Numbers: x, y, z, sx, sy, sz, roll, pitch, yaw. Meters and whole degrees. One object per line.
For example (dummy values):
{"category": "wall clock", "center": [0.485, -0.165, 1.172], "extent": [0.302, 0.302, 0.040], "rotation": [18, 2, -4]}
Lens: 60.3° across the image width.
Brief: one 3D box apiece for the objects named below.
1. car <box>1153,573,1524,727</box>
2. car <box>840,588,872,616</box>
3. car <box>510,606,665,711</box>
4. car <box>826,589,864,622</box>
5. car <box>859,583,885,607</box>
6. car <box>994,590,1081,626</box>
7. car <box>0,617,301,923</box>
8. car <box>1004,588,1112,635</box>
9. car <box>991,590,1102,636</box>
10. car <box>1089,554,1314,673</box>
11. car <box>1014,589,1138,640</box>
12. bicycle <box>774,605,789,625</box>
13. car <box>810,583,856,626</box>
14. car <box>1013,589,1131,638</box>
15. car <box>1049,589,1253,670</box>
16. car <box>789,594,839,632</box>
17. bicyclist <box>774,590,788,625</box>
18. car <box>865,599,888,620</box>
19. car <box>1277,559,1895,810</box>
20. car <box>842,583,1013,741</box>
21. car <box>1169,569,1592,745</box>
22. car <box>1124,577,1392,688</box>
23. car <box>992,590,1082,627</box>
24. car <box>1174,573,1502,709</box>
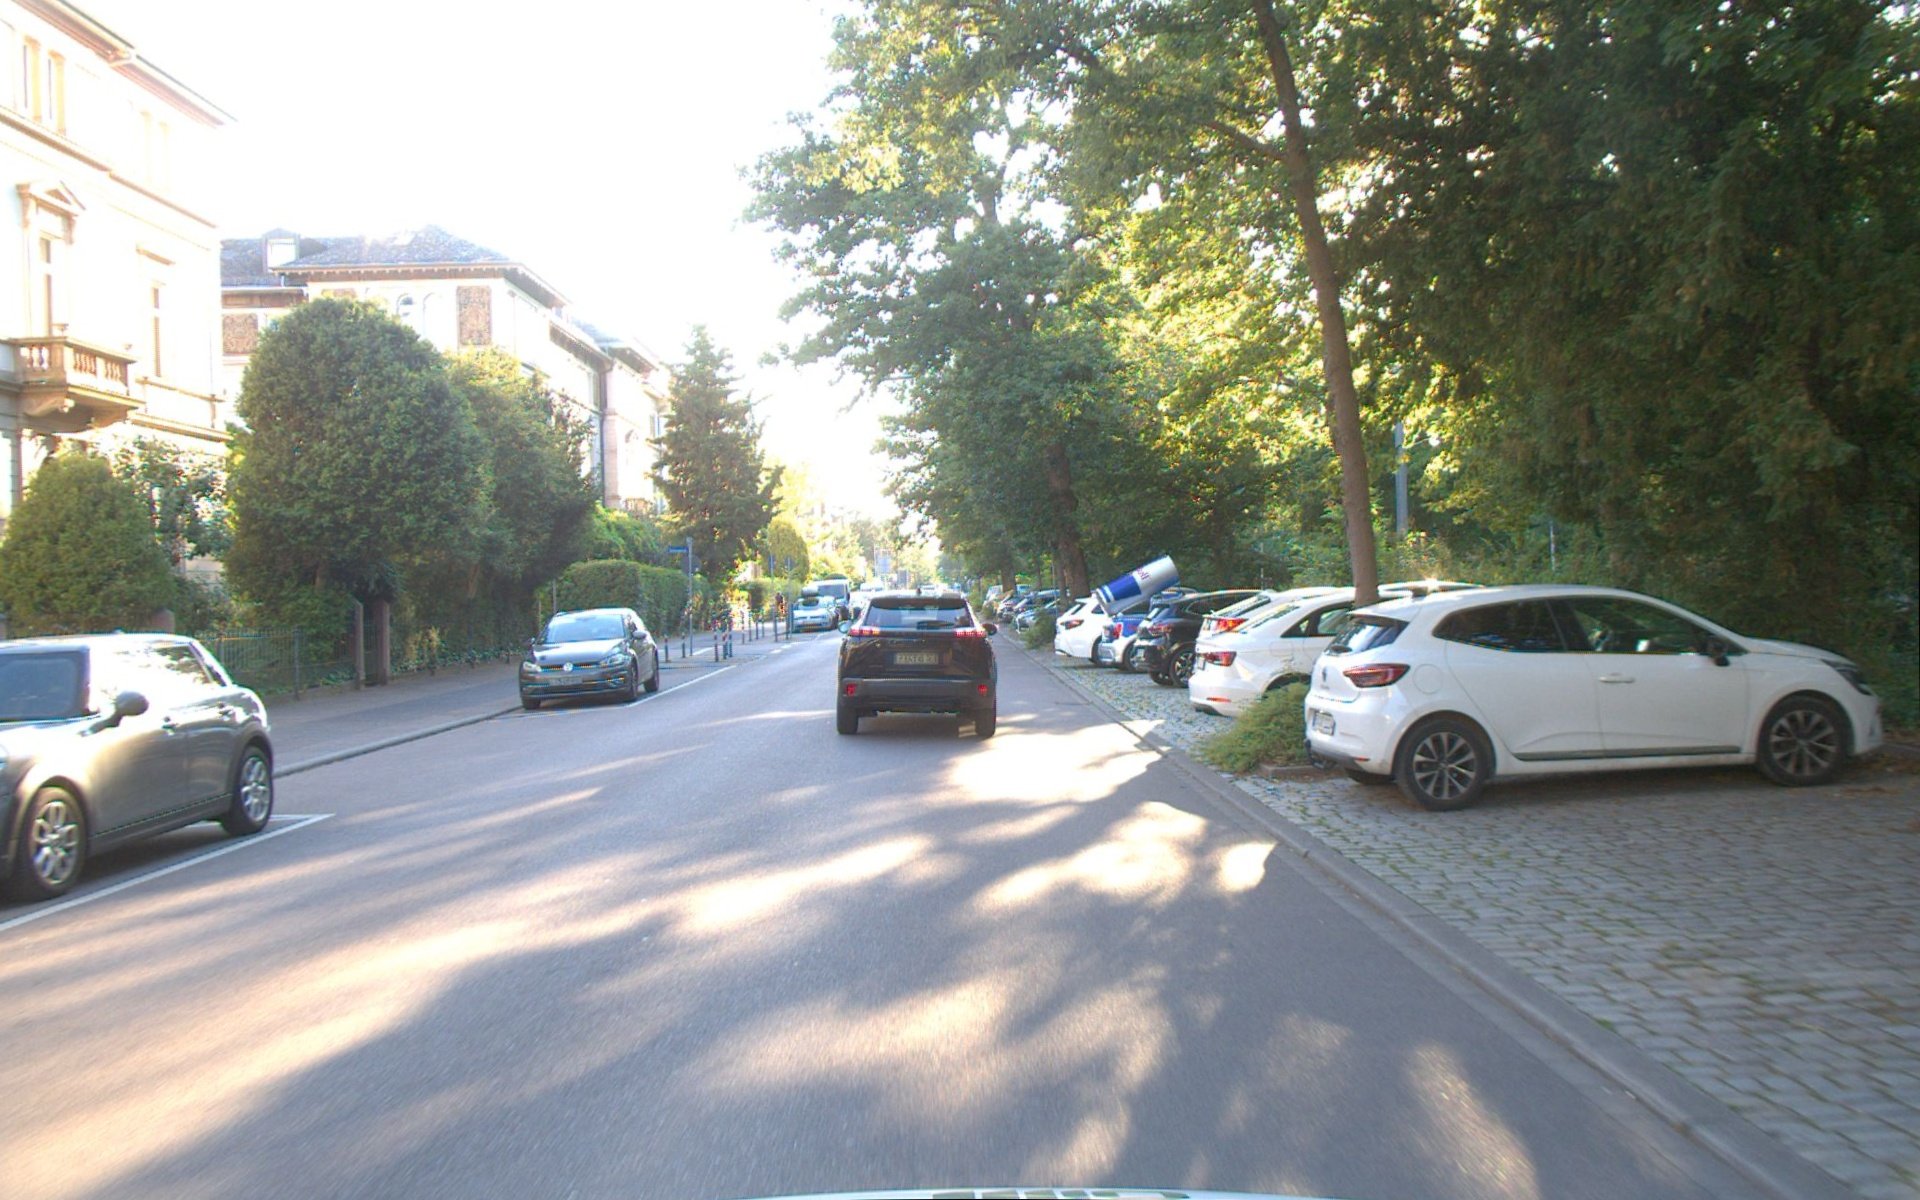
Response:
{"category": "car", "center": [4.399, 0.554, 19.539], "extent": [3.910, 1.653, 1.756], "rotation": [-1, 0, -6]}
{"category": "car", "center": [-6.915, 0.130, 110.385], "extent": [1.953, 1.847, 3.999], "rotation": [-1, 0, -1]}
{"category": "car", "center": [-5.935, 0.888, 26.766], "extent": [1.717, 1.438, 3.763], "rotation": [-3, 1, -2]}
{"category": "car", "center": [-6.563, 0.307, 94.611], "extent": [1.953, 1.799, 3.999], "rotation": [-1, 0, -1]}
{"category": "car", "center": [-7.189, -0.391, 134.713], "extent": [1.953, 1.847, 3.999], "rotation": [-1, 0, -1]}
{"category": "car", "center": [3.512, 0.367, 75.714], "extent": [3.905, 1.552, 1.758], "rotation": [-1, 0, 0]}
{"category": "car", "center": [-5.658, 0.905, 10.152], "extent": [1.581, 1.492, 4.035], "rotation": [-2, 0, 0]}
{"category": "car", "center": [3.618, 0.428, 61.699], "extent": [3.905, 1.652, 1.758], "rotation": [-1, 0, 0]}
{"category": "car", "center": [3.086, 0.450, 59.462], "extent": [3.905, 1.552, 1.758], "rotation": [-1, 0, 0]}
{"category": "car", "center": [4.565, 0.239, 31.569], "extent": [3.910, 2.126, 1.756], "rotation": [-1, 0, -6]}
{"category": "car", "center": [3.766, 0.468, 54.065], "extent": [3.905, 1.552, 1.758], "rotation": [-1, 0, 0]}
{"category": "bicycle", "center": [-9.549, 0.789, 88.439], "extent": [0.678, 1.033, 2.047], "rotation": [-1, 0, -4]}
{"category": "car", "center": [-6.325, 0.231, 82.743], "extent": [1.953, 2.049, 4.000], "rotation": [-1, 0, 0]}
{"category": "car", "center": [3.790, 0.451, 56.561], "extent": [3.905, 1.552, 1.758], "rotation": [-1, 0, 0]}
{"category": "car", "center": [3.923, 0.582, 34.372], "extent": [3.910, 1.552, 1.756], "rotation": [-1, 0, -6]}
{"category": "car", "center": [-6.342, 0.546, 72.014], "extent": [1.861, 1.601, 3.999], "rotation": [-1, 0, -1]}
{"category": "bicyclist", "center": [-9.545, 0.394, 88.347], "extent": [0.679, 1.823, 0.772], "rotation": [-1, 0, -4]}
{"category": "car", "center": [-7.645, 0.900, 151.973], "extent": [1.953, 1.847, 3.999], "rotation": [-1, 0, -1]}
{"category": "car", "center": [4.401, 0.553, 11.995], "extent": [3.734, 1.474, 1.824], "rotation": [-3, 0, -5]}
{"category": "car", "center": [-0.452, 0.624, 19.117], "extent": [1.736, 1.596, 4.106], "rotation": [1, 0, -4]}
{"category": "car", "center": [4.303, 0.551, 17.266], "extent": [3.910, 1.653, 1.756], "rotation": [-1, 0, -6]}
{"category": "car", "center": [4.754, 0.499, 26.656], "extent": [3.910, 1.653, 1.756], "rotation": [-1, 0, -6]}
{"category": "car", "center": [3.403, 0.378, 73.280], "extent": [3.905, 1.552, 1.758], "rotation": [-1, 0, 0]}
{"category": "car", "center": [4.982, 0.520, 22.101], "extent": [3.910, 1.653, 1.756], "rotation": [-1, 0, -6]}
